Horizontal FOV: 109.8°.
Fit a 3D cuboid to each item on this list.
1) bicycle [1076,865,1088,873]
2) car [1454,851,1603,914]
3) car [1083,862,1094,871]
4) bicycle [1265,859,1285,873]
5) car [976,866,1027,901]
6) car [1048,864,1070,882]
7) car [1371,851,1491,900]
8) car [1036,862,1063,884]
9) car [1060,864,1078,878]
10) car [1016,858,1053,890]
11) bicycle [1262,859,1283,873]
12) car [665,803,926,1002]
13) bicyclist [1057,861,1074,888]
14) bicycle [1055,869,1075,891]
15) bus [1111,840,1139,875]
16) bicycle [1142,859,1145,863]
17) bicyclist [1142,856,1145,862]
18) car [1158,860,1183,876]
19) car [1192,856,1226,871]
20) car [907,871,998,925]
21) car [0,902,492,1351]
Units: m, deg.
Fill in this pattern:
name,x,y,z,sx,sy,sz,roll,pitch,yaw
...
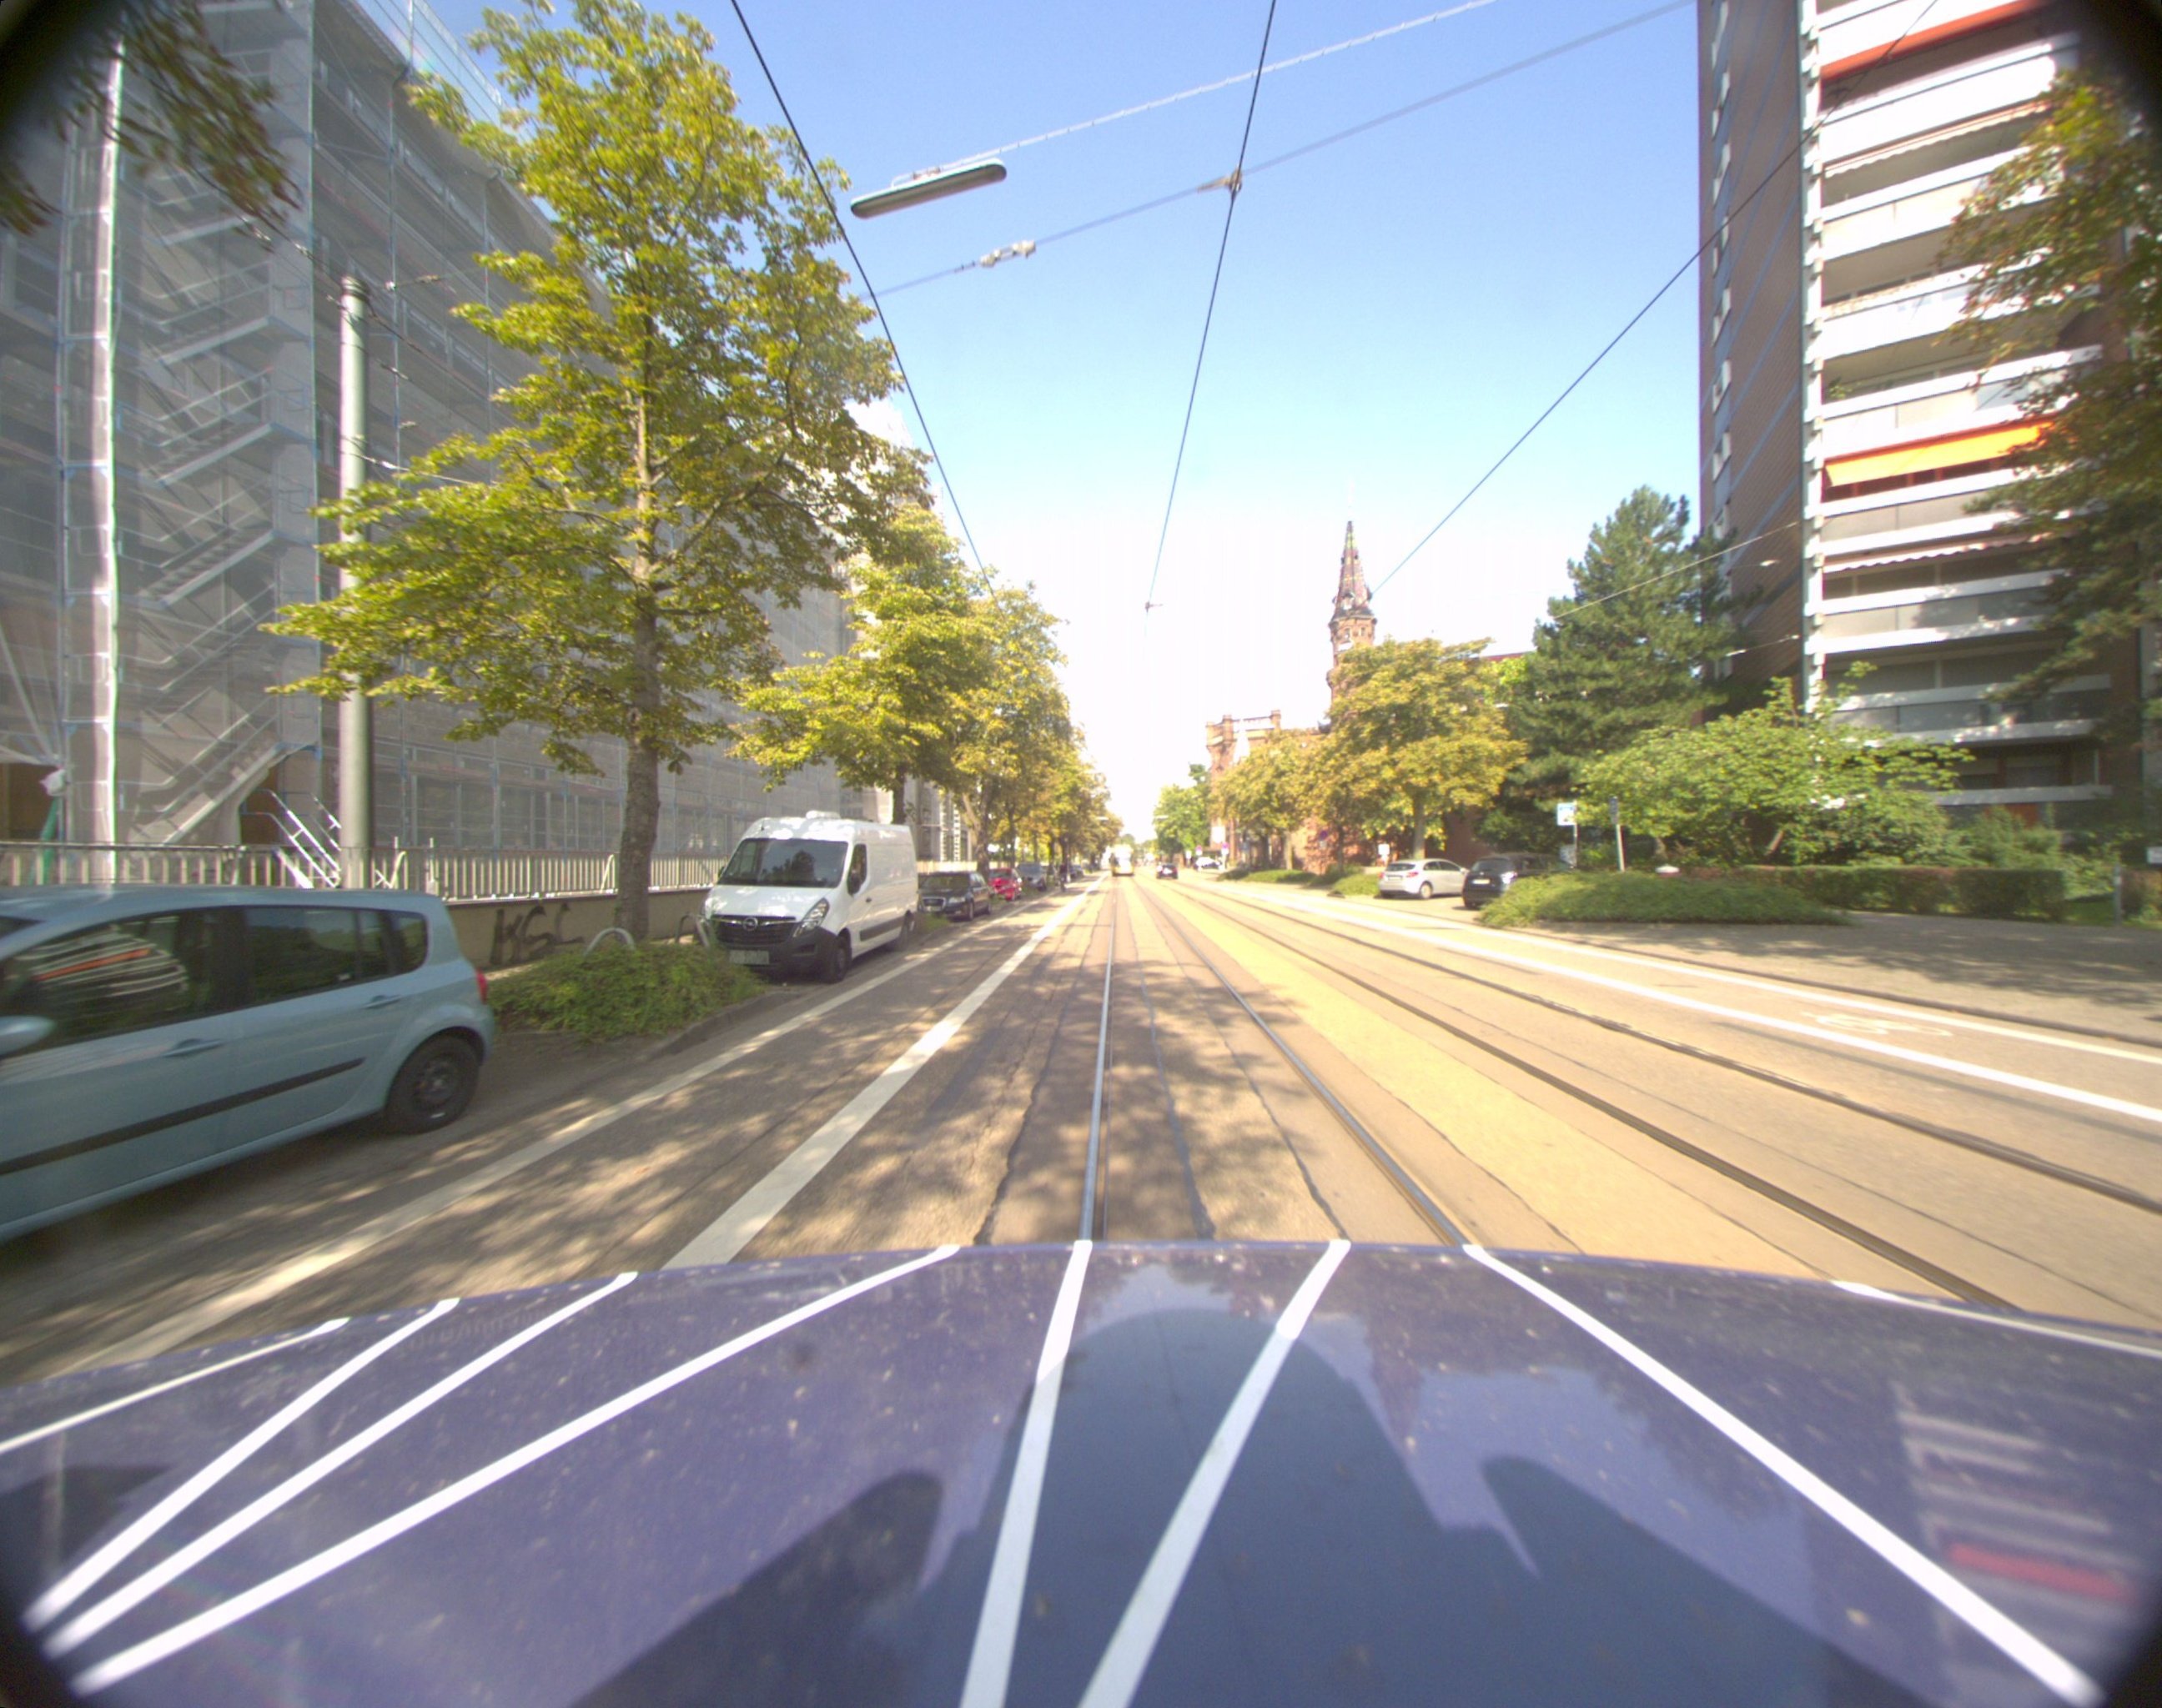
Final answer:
name,x,y,z,sx,sy,sz,roll,pitch,yaw
bicycle,0.177,2.164,109.813,1.773,1.057,0.796,1,0,1
car,12.357,0.744,21.005,3.649,1.506,1.619,-2,0,-22
car,1.330,2.176,127.293,1.745,1.477,4.438,1,-1,2
bicycle,17.385,1.049,68.072,1.809,1.068,0.420,-6,1,-19
car,-3.445,1.262,33.462,1.620,1.405,4.001,0,0,3
car,-1.889,1.656,66.430,1.650,1.502,3.779,1,0,3
car,12.744,0.765,27.663,4.005,1.470,1.786,-3,0,-27
car,-2.231,1.344,54.351,1.579,1.476,3.739,1,0,3
car,-1.246,1.736,79.009,1.650,1.420,4.086,1,0,2
car,-2.639,1.147,43.886,1.757,1.681,4.397,-2,-1,1
bicycle,17.238,1.097,68.513,1.809,1.068,0.420,-6,1,-19
car,-4.340,0.662,12.782,2.087,2.537,5.502,2,0,2
bicyclist,-0.839,1.107,41.572,0.788,1.461,1.116,-1,0,5
bicycle,-0.860,1.394,41.190,0.788,1.138,2.306,-1,0,5
bus,5.159,0.459,87.419,2.900,3.771,9.323,-1,0,5
bicycle,16.724,1.873,202.661,0.699,1.151,2.038,-1,0,1
bicyclist,16.726,1.435,202.644,0.699,1.571,1.087,-1,1,0
car,8.150,1.263,69.412,1.833,1.367,4.513,-1,0,2
car,17.846,1.367,105.775,4.407,1.636,1.957,-5,-1,4
car,-3.732,1.238,22.889,1.620,1.366,4.829,0,0,4
car,-4.965,1.108,3.277,1.668,1.607,3.878,0,-1,3
